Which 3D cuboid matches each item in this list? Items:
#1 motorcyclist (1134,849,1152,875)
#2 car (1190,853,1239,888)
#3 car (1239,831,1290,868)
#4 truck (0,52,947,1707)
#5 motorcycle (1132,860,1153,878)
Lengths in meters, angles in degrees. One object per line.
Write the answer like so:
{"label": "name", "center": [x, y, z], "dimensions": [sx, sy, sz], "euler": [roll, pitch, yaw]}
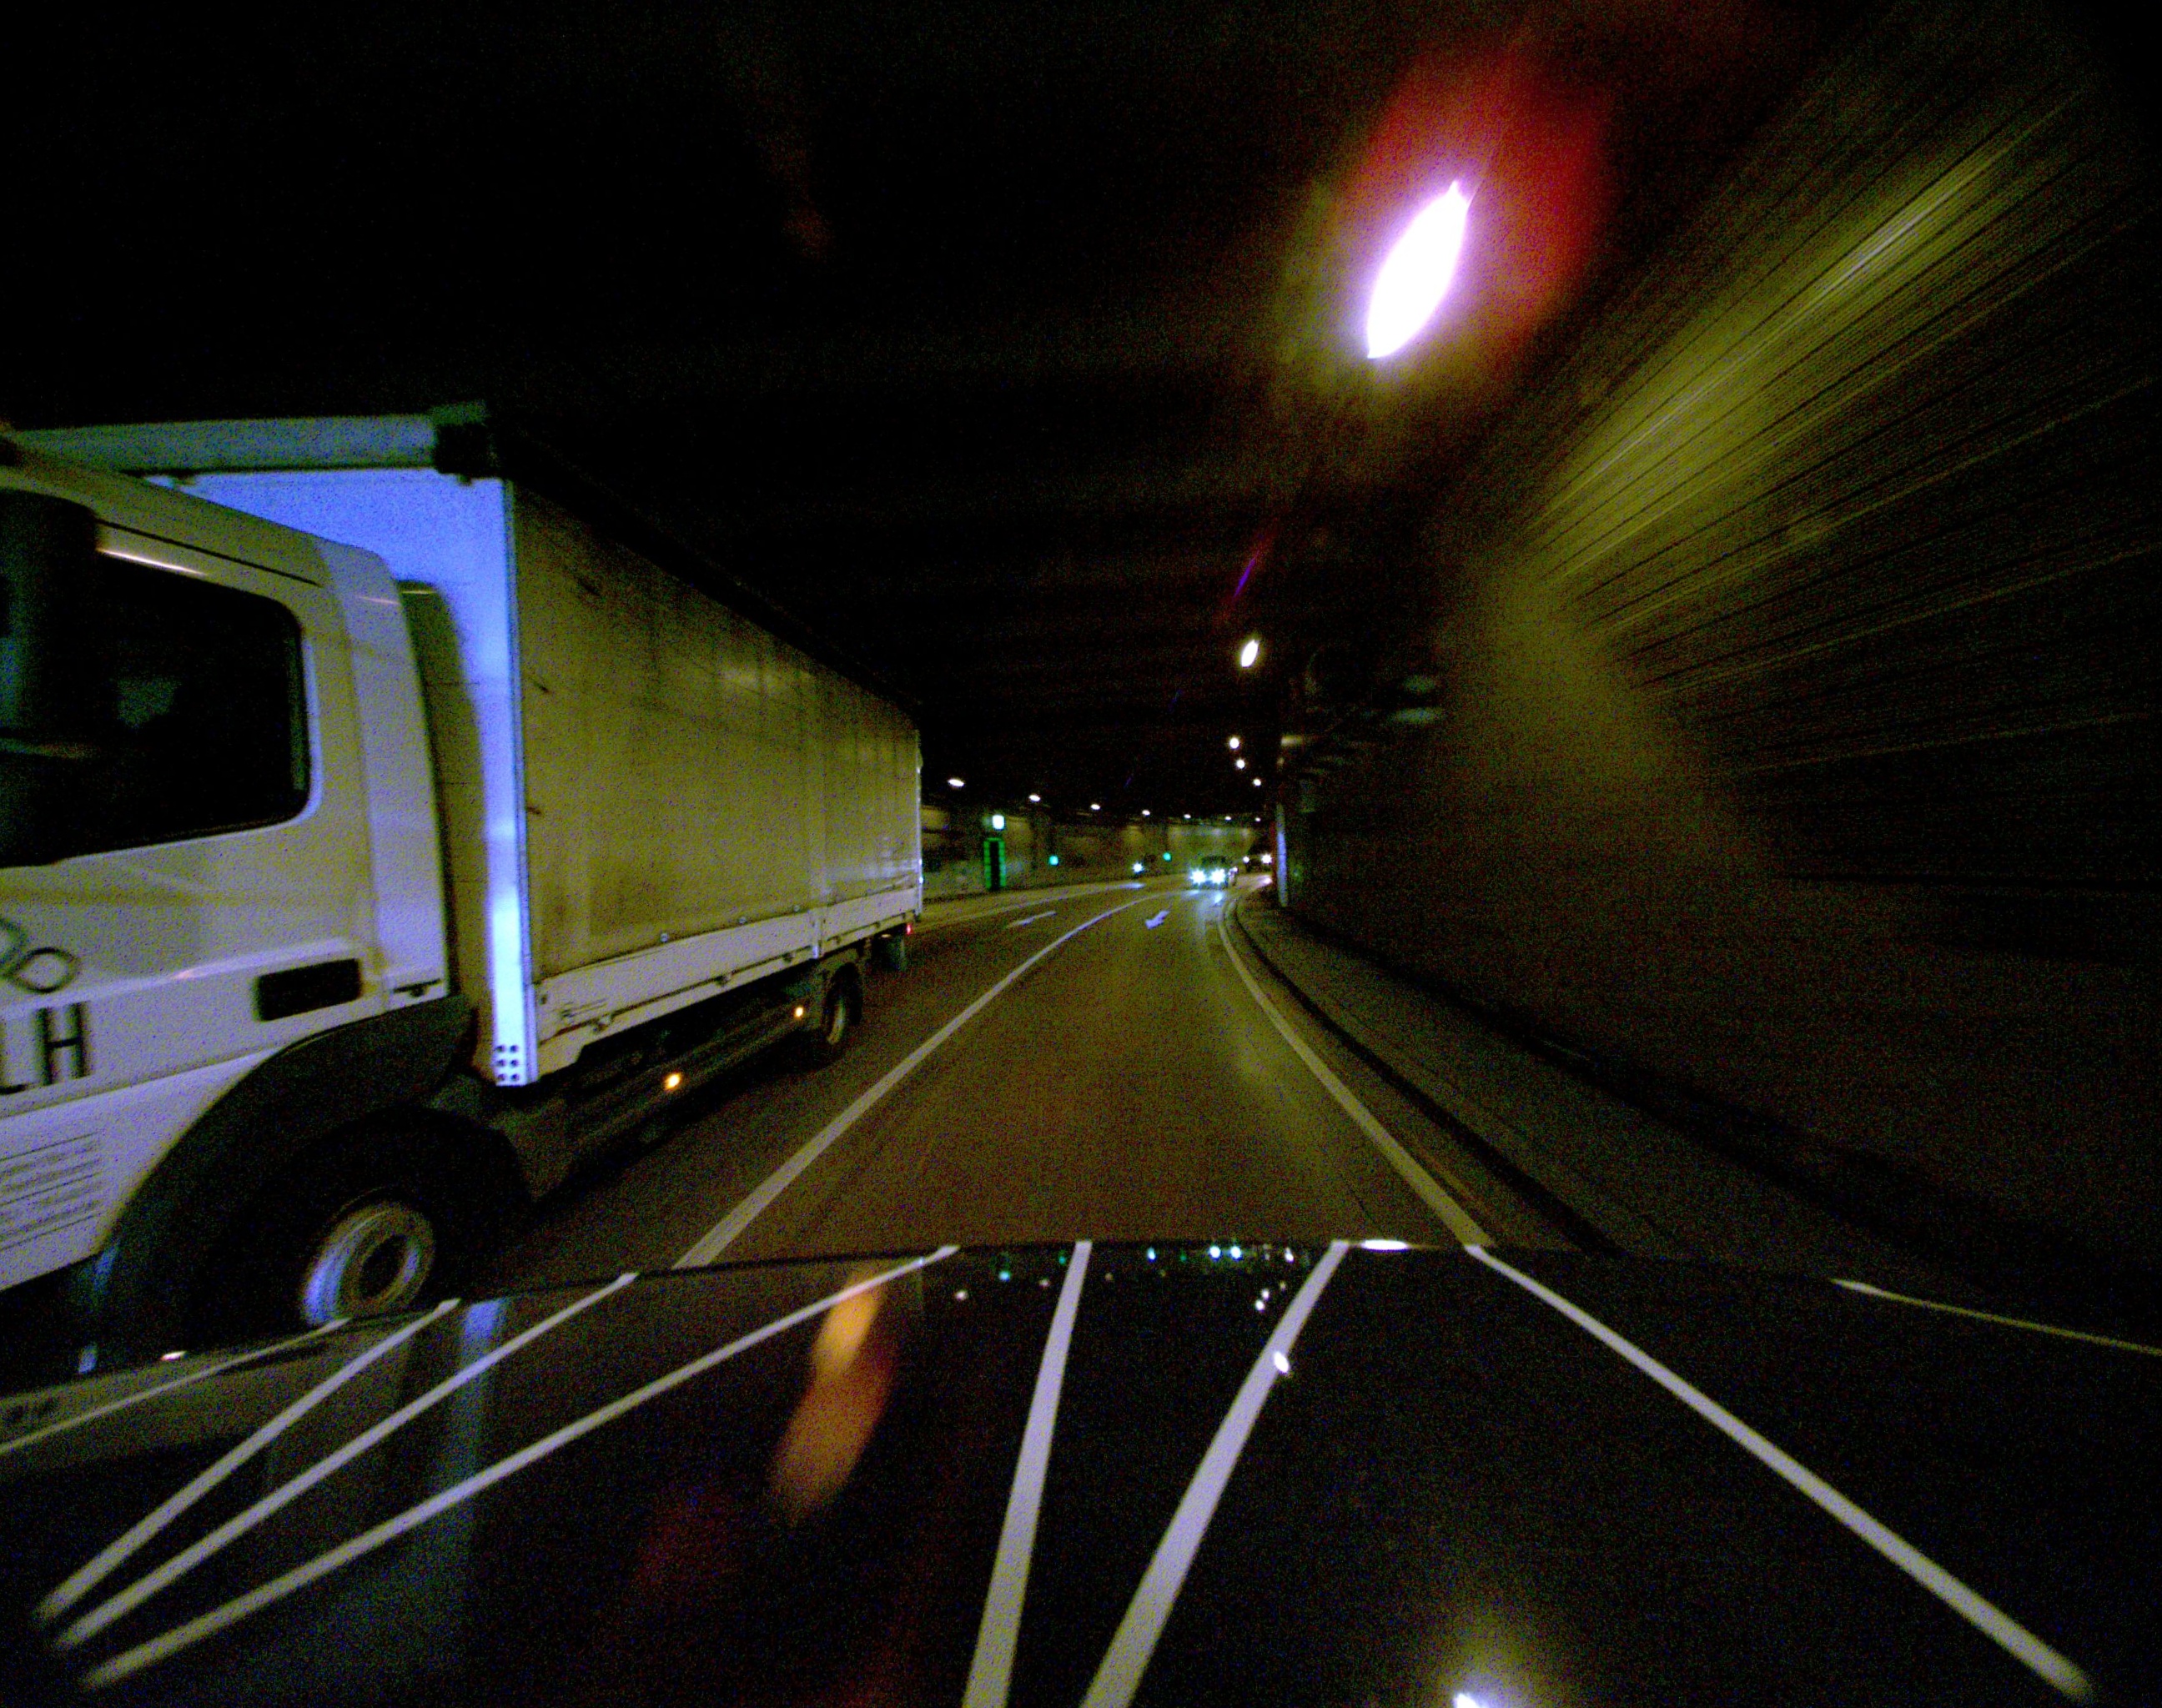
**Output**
{"label": "motorcyclist", "center": [3.769, 0.481, 46.409], "dimensions": [0.745, 1.482, 0.788], "euler": [-4, 1, 28]}
{"label": "car", "center": [6.369, 0.731, 35.958], "dimensions": [1.719, 1.455, 4.005], "euler": [-2, 0, 17]}
{"label": "car", "center": [14.933, -0.408, 61.488], "dimensions": [2.556, 2.752, 7.362], "euler": [-2, 0, 24]}
{"label": "truck", "center": [-3.074, 0.135, 4.354], "dimensions": [2.635, 3.220, 7.418], "euler": [-2, 0, 4]}
{"label": "motorcycle", "center": [3.767, 0.924, 46.425], "dimensions": [0.549, 0.970, 1.838], "euler": [-4, 0, 28]}
